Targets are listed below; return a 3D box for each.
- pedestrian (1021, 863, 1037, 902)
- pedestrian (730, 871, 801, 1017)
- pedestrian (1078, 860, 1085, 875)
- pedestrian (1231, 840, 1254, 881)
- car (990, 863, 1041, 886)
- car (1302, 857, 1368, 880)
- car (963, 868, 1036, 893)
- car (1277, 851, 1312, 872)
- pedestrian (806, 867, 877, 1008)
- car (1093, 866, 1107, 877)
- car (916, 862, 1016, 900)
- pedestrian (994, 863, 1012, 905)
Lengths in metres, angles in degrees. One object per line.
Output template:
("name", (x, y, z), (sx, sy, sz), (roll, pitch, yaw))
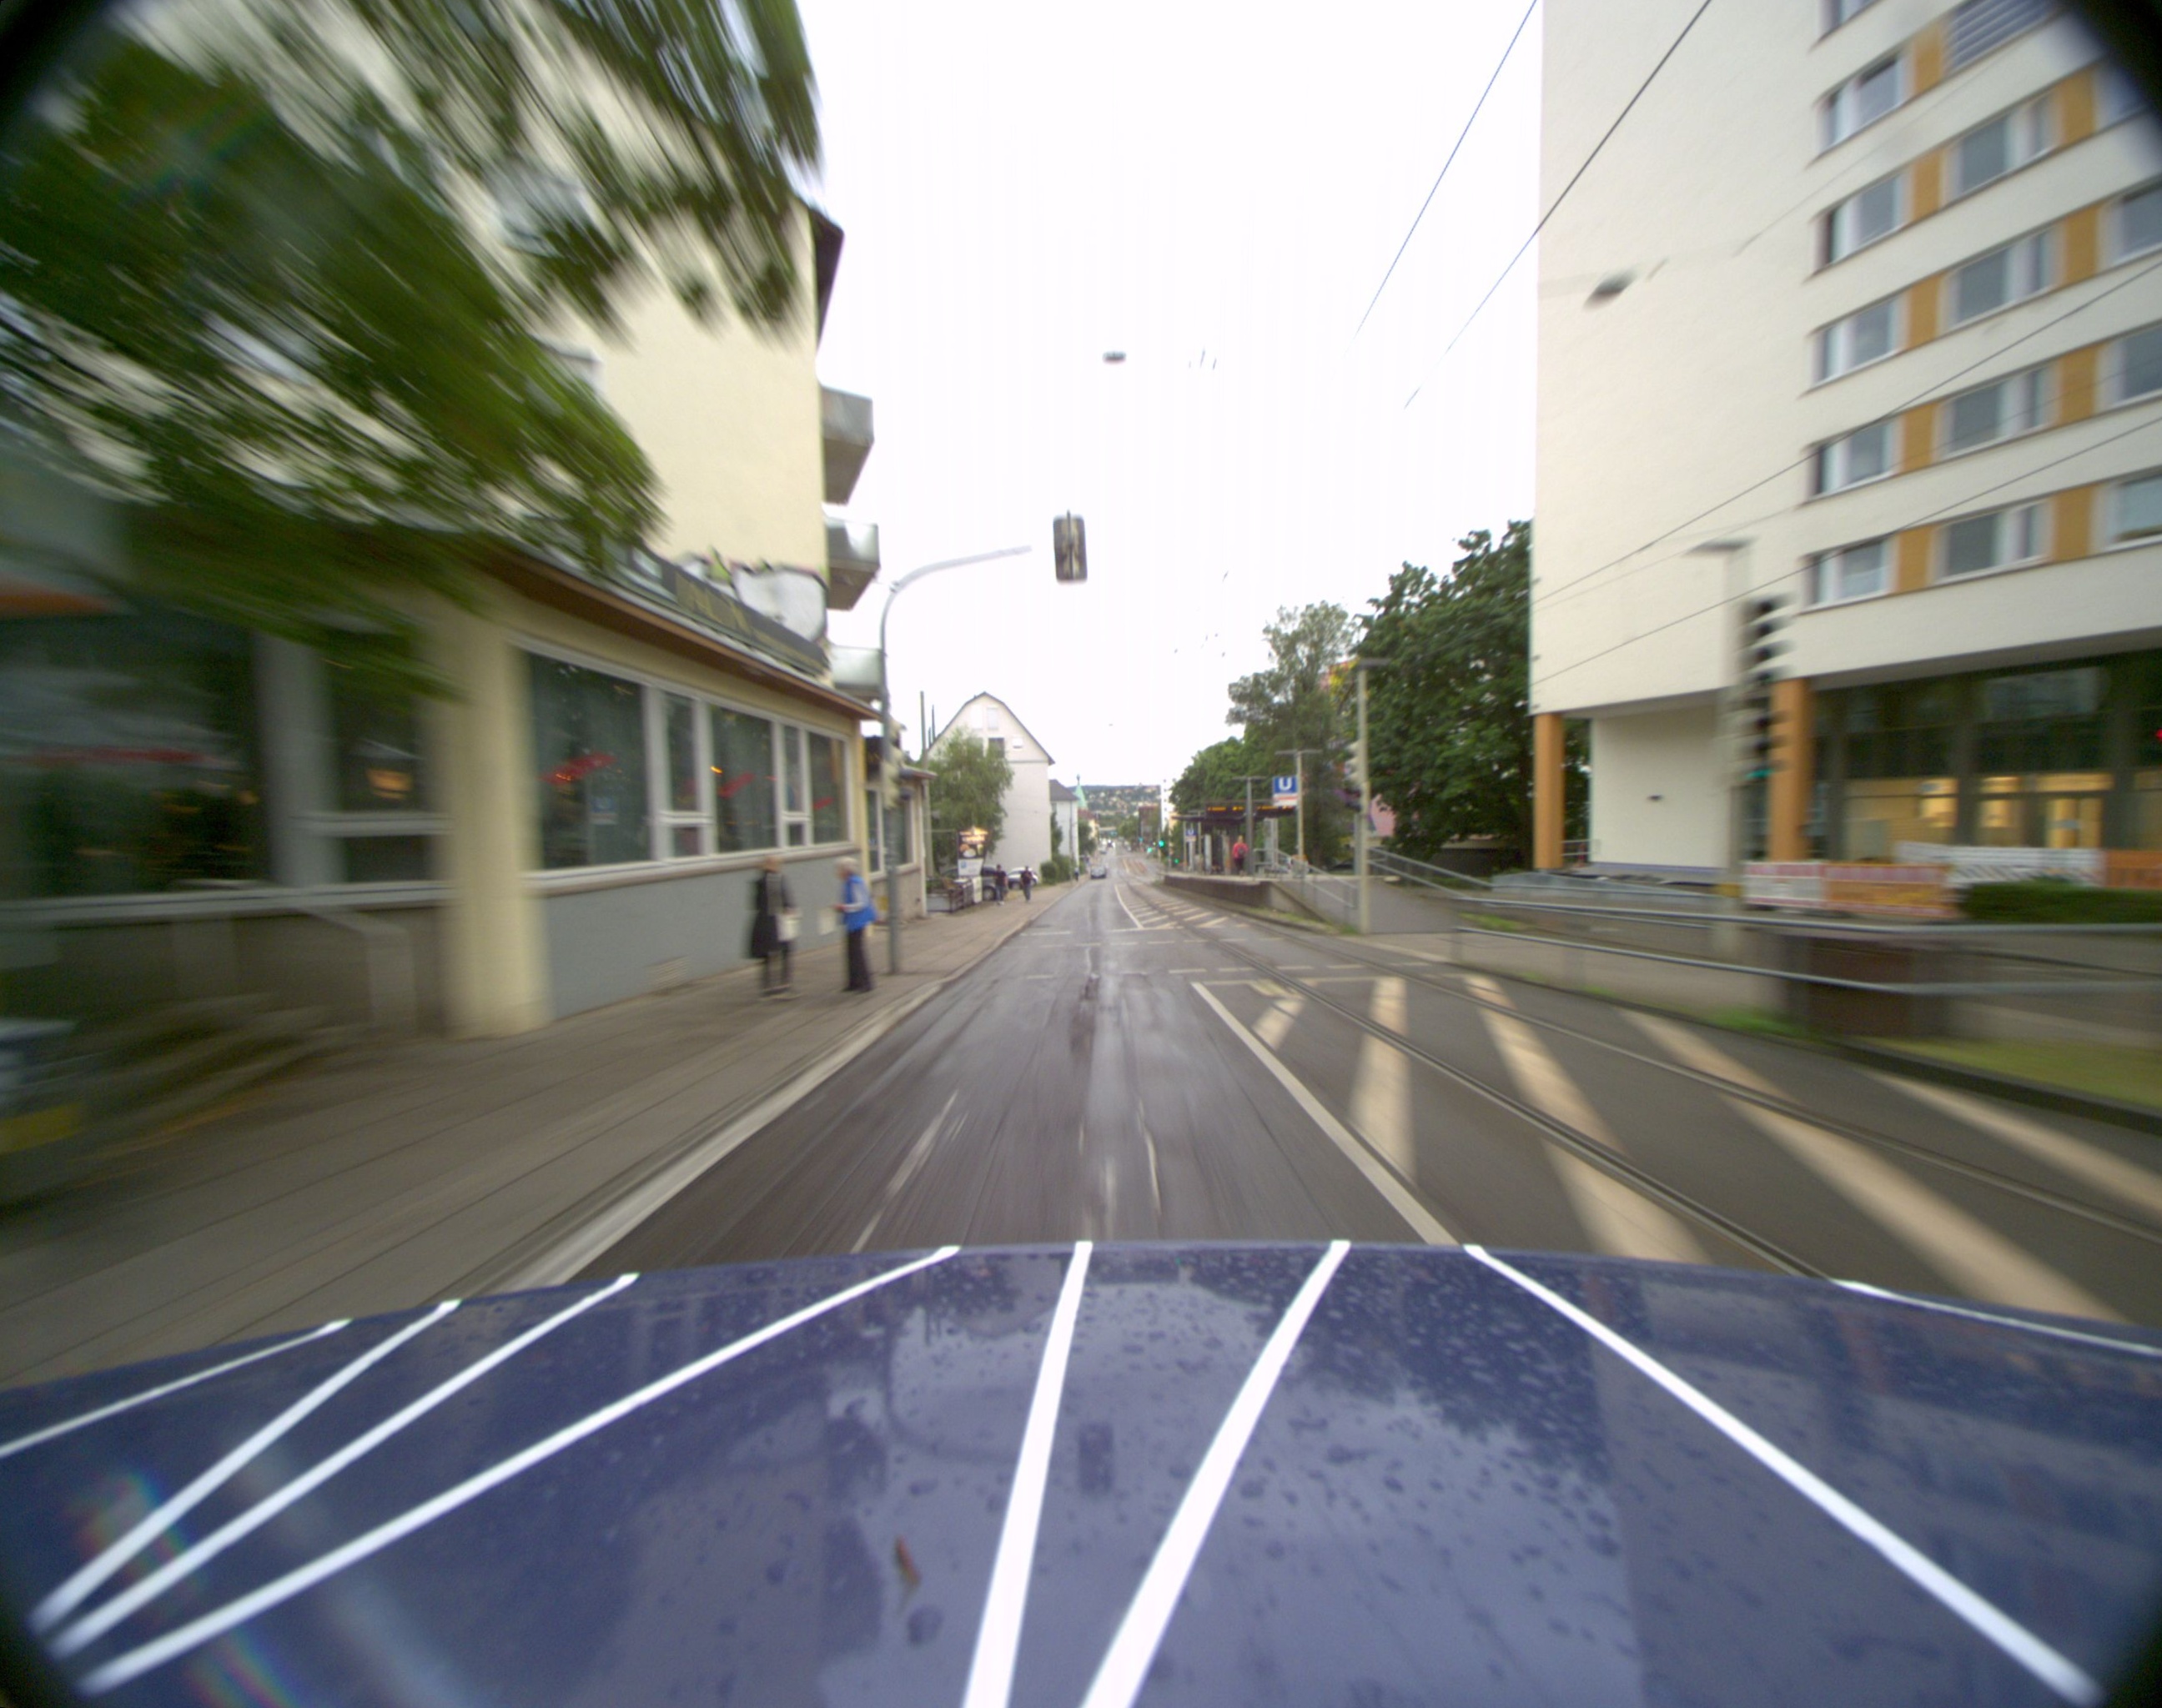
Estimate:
("pedestrian", (-2.336, 1.266, 34.037), (0.721, 1.704, 0.608), (0, 0, -5))
("pedestrian", (-3.455, 0.961, 8.347), (0.547, 1.545, 0.559), (0, 0, -1))
("pedestrian", (0.043, 1.424, 82.523), (0.657, 1.611, 0.630), (-1, 0, 7))
("pedestrian", (6.182, 0.243, 29.145), (0.672, 1.539, 0.771), (-1, 0, 1))
("car", (-5.218, 1.630, 61.295), (3.998, 1.459, 1.814), (-2, 6, -3))
("car", (18.726, 1.060, 56.078), (4.483, 1.533, 1.948), (-2, 0, 22))
("car", (-5.829, 1.876, 54.987), (4.943, 1.428, 1.974), (-3, 1, 2))
("car", (18.180, 0.642, 64.938), (1.751, 1.706, 4.442), (-1, 0, 1))
("pedestrian", (-2.722, 0.922, 8.669), (0.589, 1.545, 0.650), (0, 0, 1))
("car", (2.591, 2.336, 102.142), (1.725, 1.350, 4.001), (-2, 0, 3))
("car", (-5.376, 1.261, 35.868), (4.338, 1.664, 1.781), (1, -1, 3))
("pedestrian", (-3.231, 1.227, 31.565), (0.580, 1.704, 0.614), (-3, 0, -2))
